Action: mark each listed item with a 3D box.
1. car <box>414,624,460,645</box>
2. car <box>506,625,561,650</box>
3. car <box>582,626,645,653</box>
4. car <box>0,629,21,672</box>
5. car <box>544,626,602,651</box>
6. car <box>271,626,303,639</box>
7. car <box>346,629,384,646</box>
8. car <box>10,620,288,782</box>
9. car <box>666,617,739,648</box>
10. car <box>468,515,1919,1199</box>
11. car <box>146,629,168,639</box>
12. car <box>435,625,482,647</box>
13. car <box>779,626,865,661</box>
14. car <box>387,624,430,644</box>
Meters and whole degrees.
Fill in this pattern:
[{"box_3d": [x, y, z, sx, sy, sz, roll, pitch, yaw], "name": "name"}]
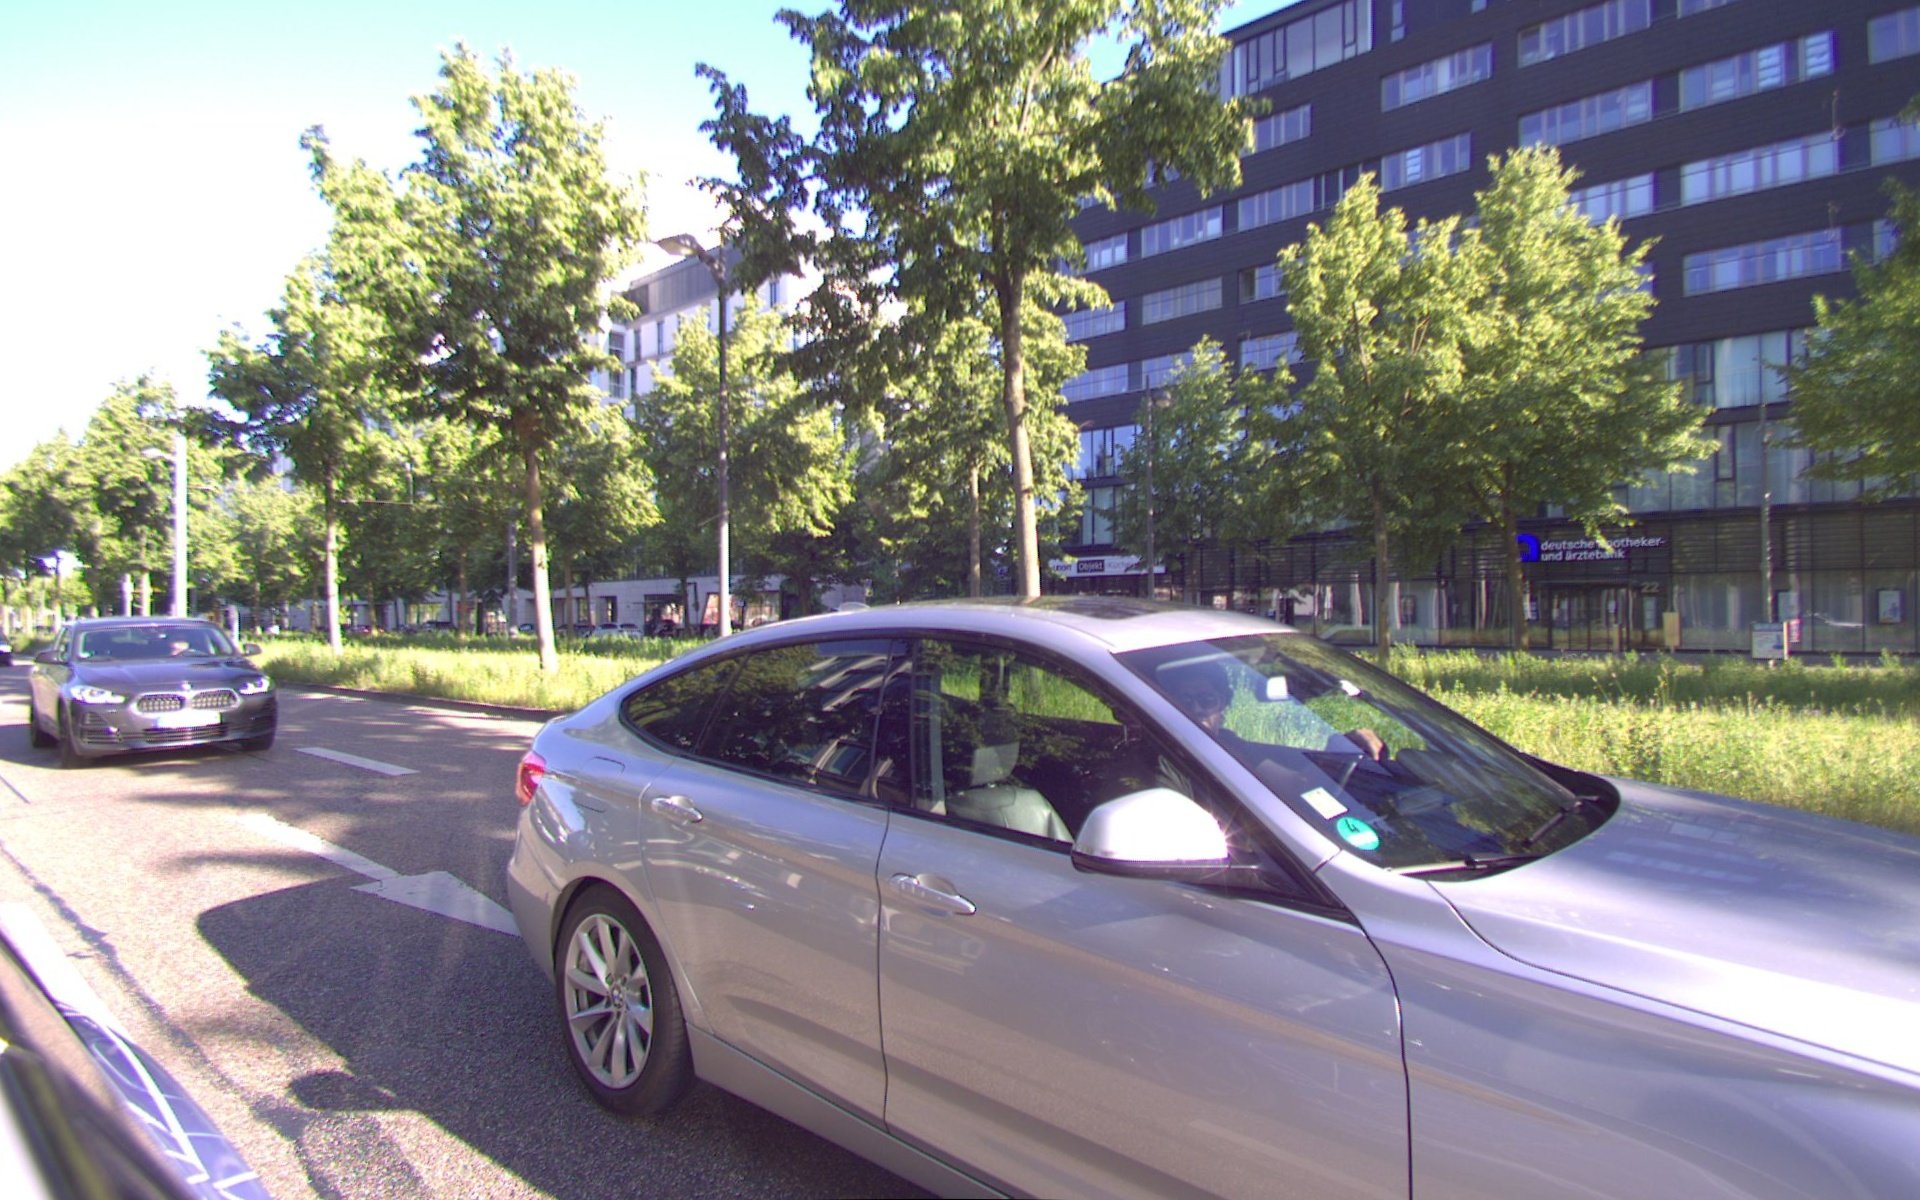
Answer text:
[{"box_3d": [-42.125, 2.790, 81.494, 4.182, 1.609, 1.859, -2, -1, 41], "name": "car"}, {"box_3d": [-29.723, 2.597, 70.480, 4.182, 1.609, 1.859, -2, -1, 41], "name": "car"}, {"box_3d": [-21.675, 2.474, 63.248, 4.182, 1.609, 1.859, -2, -1, 41], "name": "car"}, {"box_3d": [-34.598, 1.766, 35.669, 4.344, 1.434, 1.854, -1, -1, 43], "name": "car"}, {"box_3d": [-25.694, 2.532, 67.067, 4.182, 1.609, 1.859, -2, -1, 41], "name": "car"}, {"box_3d": [-72.524, 3.508, 109.078, 3.998, 1.406, 1.972, -2, -2, 41], "name": "car"}, {"box_3d": [-53.720, 3.368, 91.321, 4.001, 1.406, 1.971, -2, -2, 44], "name": "car"}, {"box_3d": [-9.312, 0.995, 11.515, 3.999, 1.502, 1.837, -1, -1, 42], "name": "car"}, {"box_3d": [-14.274, 1.802, 56.041, 4.182, 1.609, 1.926, -2, -1, 41], "name": "car"}, {"box_3d": [0.656, 0.685, 2.606, 4.558, 1.495, 1.800, -1, -1, 40], "name": "car"}, {"box_3d": [-114.616, 4.825, 144.513, 4.001, 1.406, 1.971, -2, -2, 44], "name": "car"}, {"box_3d": [-38.664, 2.744, 77.987, 4.182, 1.609, 1.859, -2, -1, 41], "name": "car"}, {"box_3d": [-6.763, 2.082, 49.399, 4.182, 1.609, 1.926, -2, -1, 41], "name": "car"}, {"box_3d": [-46.580, 2.860, 85.390, 4.182, 1.609, 1.859, -2, -1, 41], "name": "car"}]
